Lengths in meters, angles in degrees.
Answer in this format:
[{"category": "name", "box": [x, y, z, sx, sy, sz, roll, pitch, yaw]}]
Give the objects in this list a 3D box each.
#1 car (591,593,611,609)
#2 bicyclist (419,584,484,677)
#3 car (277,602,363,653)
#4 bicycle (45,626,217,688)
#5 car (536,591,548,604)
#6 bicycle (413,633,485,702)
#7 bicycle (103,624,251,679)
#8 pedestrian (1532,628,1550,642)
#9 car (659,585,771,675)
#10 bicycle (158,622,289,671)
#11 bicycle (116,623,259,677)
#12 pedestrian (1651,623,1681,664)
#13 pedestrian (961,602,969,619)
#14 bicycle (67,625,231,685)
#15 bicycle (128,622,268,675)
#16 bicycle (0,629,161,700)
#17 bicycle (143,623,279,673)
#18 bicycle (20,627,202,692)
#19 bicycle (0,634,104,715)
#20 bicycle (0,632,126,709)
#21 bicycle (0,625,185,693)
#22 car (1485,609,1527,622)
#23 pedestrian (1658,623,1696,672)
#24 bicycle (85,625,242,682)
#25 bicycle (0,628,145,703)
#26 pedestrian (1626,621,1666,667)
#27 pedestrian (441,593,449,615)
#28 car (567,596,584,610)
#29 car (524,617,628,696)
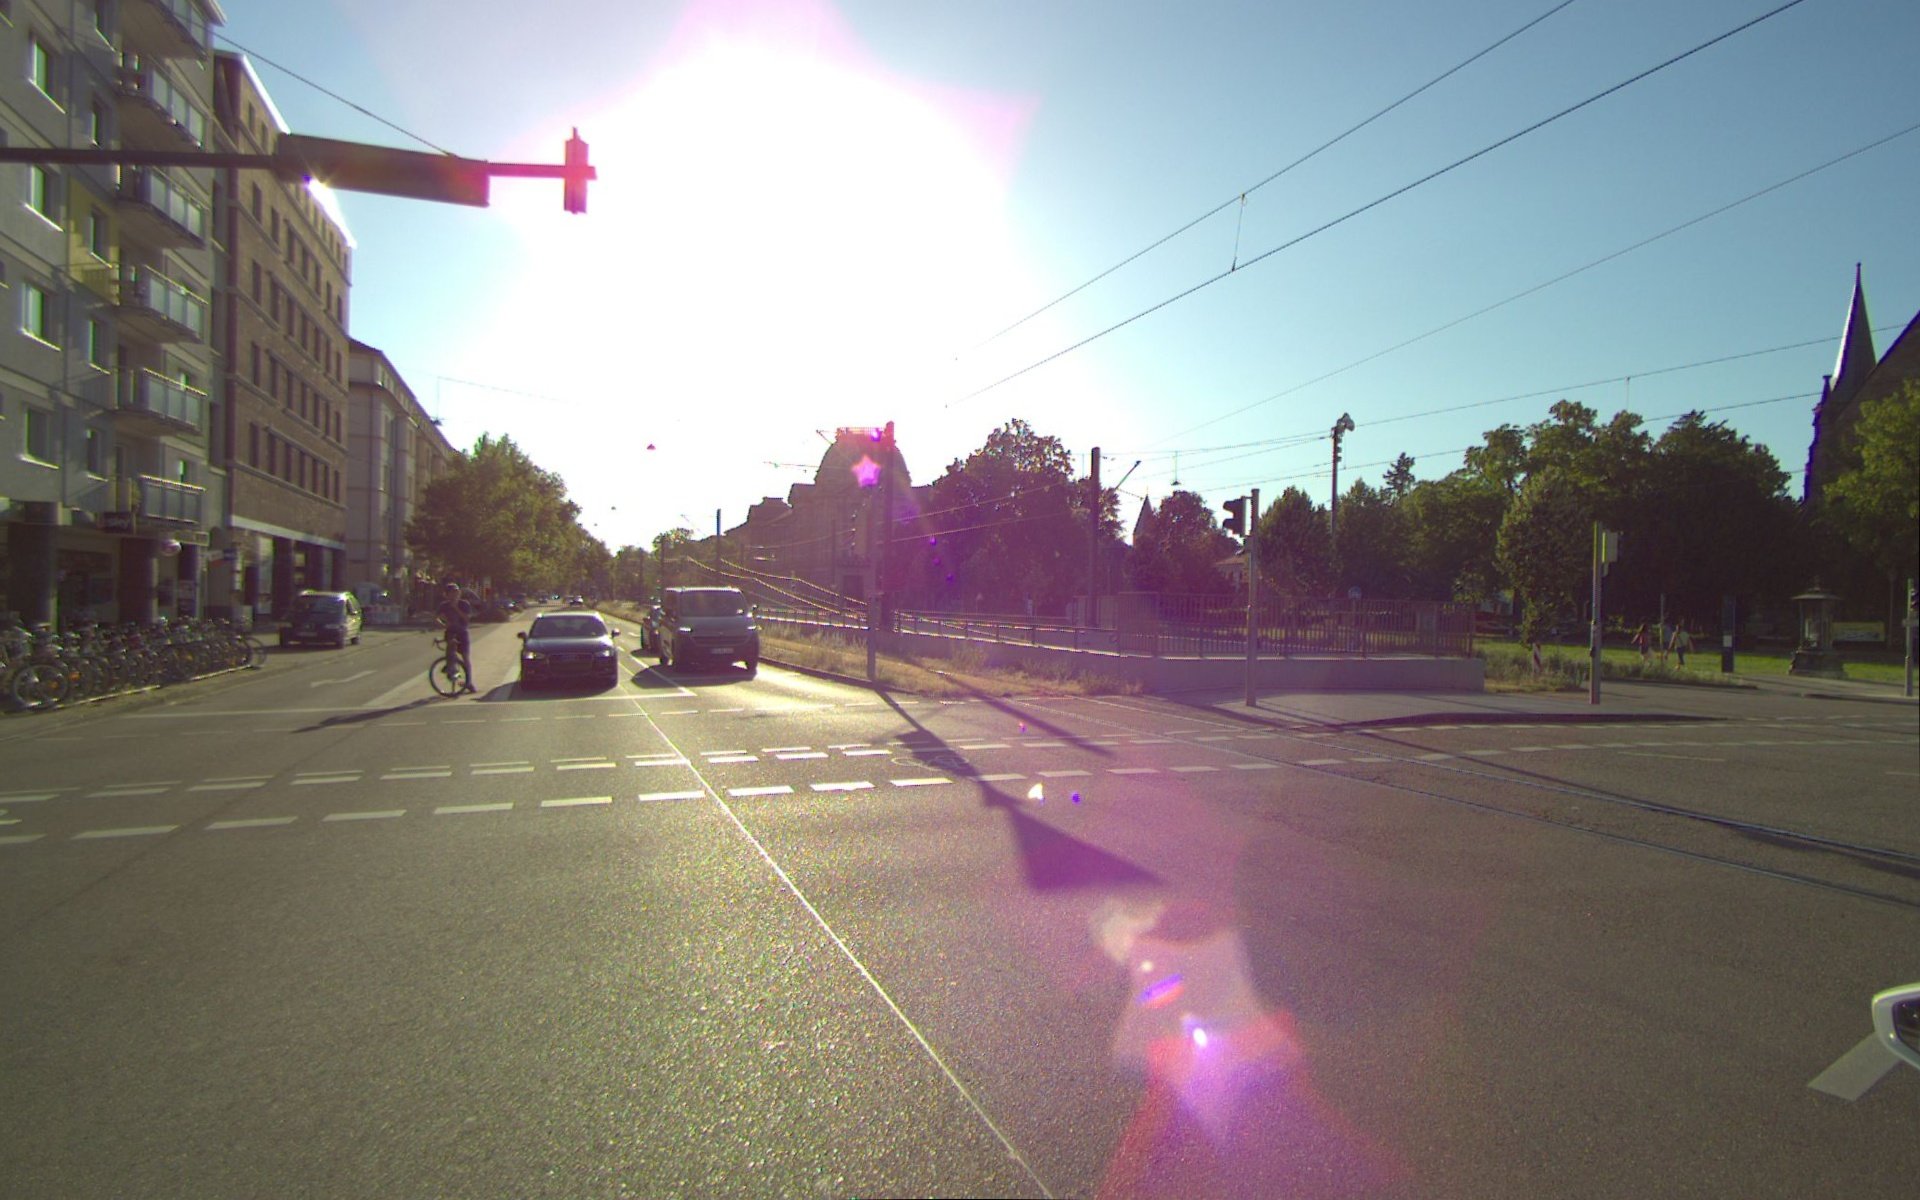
[{"category": "car", "box": [-46.776, 0.123, 130.799, 1.974, 2.040, 3.972, 1, 0, -27]}, {"category": "bicyclist", "box": [-9.072, 0.535, 17.959, 0.948, 1.619, 0.735, 0, -1, -21]}, {"category": "car", "box": [-20.612, 0.841, 32.492, 1.672, 1.528, 3.978, 1, 0, -23]}, {"category": "bicycle", "box": [-14.978, 1.022, 18.235, 2.266, 1.065, 0.733, 1, 0, -22]}, {"category": "car", "box": [-76.454, -0.393, 183.862, 1.971, 2.274, 3.978, 1, 0, -22]}, {"category": "bicycle", "box": [-8.992, 1.154, 17.745, 0.937, 1.112, 1.774, 0, -1, -21]}, {"category": "bicycle", "box": [-15.819, 1.047, 20.360, 2.266, 1.065, 0.560, 1, 0, -22]}, {"category": "pedestrian", "box": [42.742, 2.562, 73.923, 1.165, 0.966, 0.794, 1, 1, -42]}, {"category": "car", "box": [-6.268, 0.692, 25.265, 1.971, 2.040, 4.912, 1, 0, -23]}, {"category": "bicycle", "box": [-16.784, 1.065, 22.947, 2.266, 1.065, 0.733, 1, 0, -22]}, {"category": "bicycle", "box": [-16.029, 1.041, 20.911, 2.266, 1.065, 0.560, 1, 0, -22]}, {"category": "pedestrian", "box": [31.148, 1.910, 44.315, 0.999, 1.719, 0.842, 2, 1, 33]}, {"category": "pedestrian", "box": [0.553, 1.110, 107.517, 0.675, 1.847, 0.533, 1, 0, -17]}, {"category": "bicycle", "box": [-15.265, 1.038, 18.984, 2.266, 1.065, 0.733, 1, 0, -22]}, {"category": "bicycle", "box": [-16.222, 1.033, 21.459, 2.266, 1.065, 0.644, 1, 0, -22]}, {"category": "bicycle", "box": [-14.175, 1.007, 15.890, 2.266, 1.065, 0.733, 1, 0, -22]}, {"category": "bicycle", "box": [-16.494, 1.056, 22.200, 2.266, 1.065, 0.733, 1, 0, -22]}, {"category": "bicycle", "box": [-14.728, 1.029, 17.504, 2.266, 1.065, 0.733, 1, 0, -22]}, {"category": "bicycle", "box": [-13.229, 1.005, 13.672, 2.266, 1.065, 0.733, 1, 0, -22]}, {"category": "bicycle", "box": [-13.539, 1.000, 14.416, 2.266, 1.065, 0.733, 1, 0, -22]}, {"category": "bicycle", "box": [-14.455, 0.977, 16.759, 2.266, 1.065, 0.733, 1, 0, -22]}, {"category": "car", "box": [70.079, 2.021, 128.947, 1.978, 1.592, 4.426, 1, 0, -32]}, {"category": "pedestrian", "box": [26.408, 1.740, 37.001, 0.696, 1.719, 0.895, 2, 1, -1]}, {"category": "bicycle", "box": [-15.589, 1.041, 19.728, 2.266, 1.065, 0.733, 1, 0, -22]}, {"category": "bicycle", "box": [-13.862, 0.976, 15.162, 2.266, 1.065, 0.733, 1, 0, -22]}, {"category": "pedestrian", "box": [26.666, 1.702, 39.060, 0.828, 1.719, 1.017, 2, 1, -1]}, {"category": "pedestrian", "box": [-41.950, 0.323, 81.792, 0.484, 1.731, 0.547, 1, 0, -22]}, {"category": "car", "box": [-60.384, 0.468, 157.648, 1.974, 2.040, 3.972, 1, 0, -27]}, {"category": "car", "box": [-7.790, 1.054, 20.255, 1.775, 1.330, 4.178, 0, 0, -23]}]
